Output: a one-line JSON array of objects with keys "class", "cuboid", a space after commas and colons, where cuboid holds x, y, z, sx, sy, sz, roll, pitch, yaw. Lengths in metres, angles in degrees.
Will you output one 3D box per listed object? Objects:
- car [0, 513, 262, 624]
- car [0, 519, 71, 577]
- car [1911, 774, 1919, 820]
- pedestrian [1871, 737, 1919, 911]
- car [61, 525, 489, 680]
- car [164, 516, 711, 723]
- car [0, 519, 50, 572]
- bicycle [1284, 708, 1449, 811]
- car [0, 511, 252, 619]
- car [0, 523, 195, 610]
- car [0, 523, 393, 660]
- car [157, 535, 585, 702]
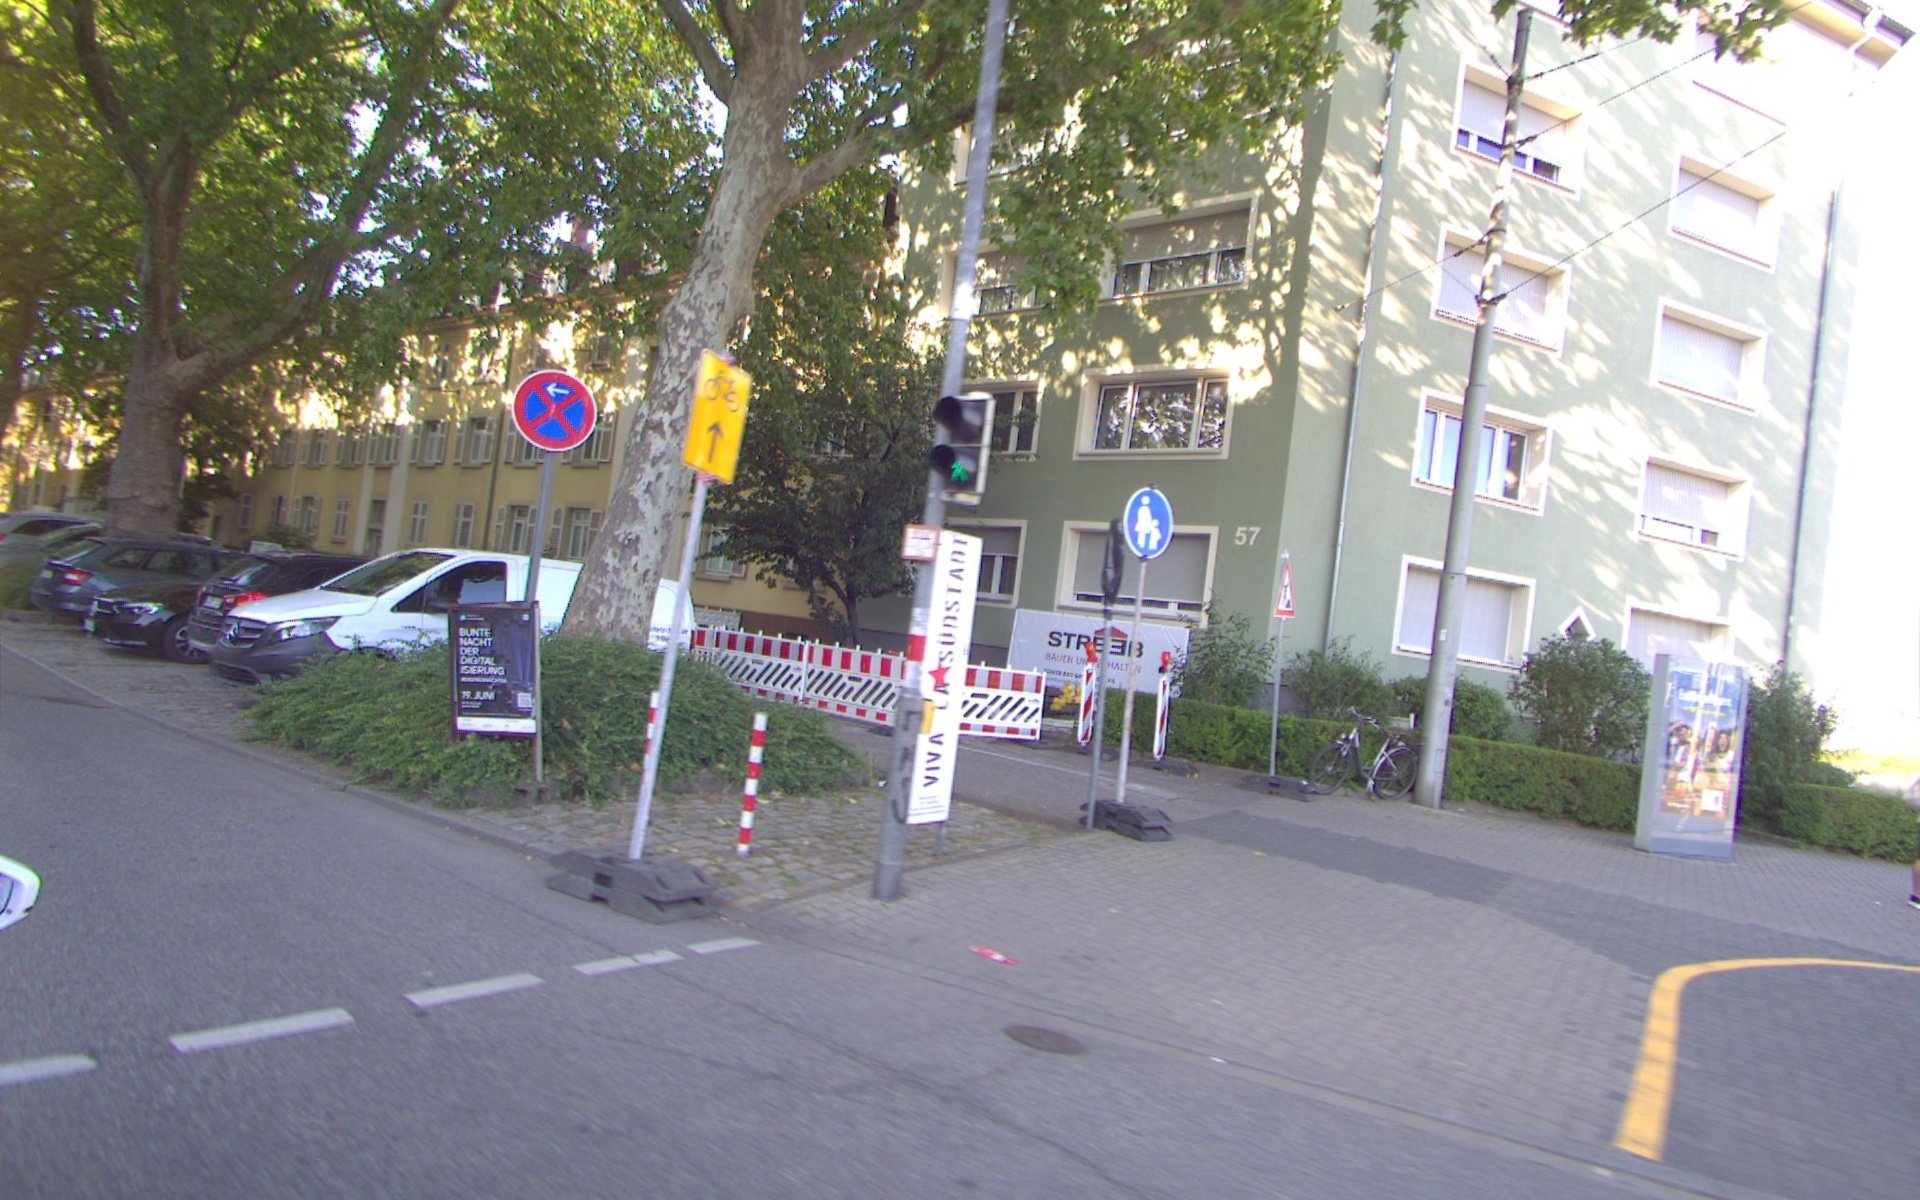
[{"class": "car", "cuboid": [-17.035, -0.630, 20.010, 1.891, 1.620, 4.714, 6, -3, 37]}, {"class": "car", "cuboid": [-30.298, -1.837, 30.417, 1.889, 1.551, 4.719, 6, -3, 34]}, {"class": "car", "cuboid": [36.255, 7.334, 35.821, 1.633, 1.677, 4.012, 6, -3, 15]}, {"class": "pedestrian", "cuboid": [10.473, 2.413, 10.699, 0.780, 1.770, 0.694, 7, -2, 5]}, {"class": "car", "cuboid": [-9.738, 0.134, 14.713, 1.891, 1.620, 4.714, 6, -3, 37]}, {"class": "car", "cuboid": [-5.626, 0.362, 11.649, 1.901, 1.847, 5.222, 4, -3, 36]}, {"class": "car", "cuboid": [-32.393, -2.045, 31.976, 1.889, 1.551, 4.719, 6, -3, 34]}, {"class": "bicycle", "cuboid": [5.257, 2.062, 13.031, 1.902, 1.069, 0.520, 8, -2, -10]}, {"class": "car", "cuboid": [-18.602, -0.750, 21.926, 1.891, 1.741, 4.715, 6, -3, 37]}, {"class": "car", "cuboid": [-21.263, -0.864, 23.699, 1.891, 1.551, 4.715, 6, -3, 37]}, {"class": "car", "cuboid": [-12.012, -0.047, 16.168, 1.889, 1.523, 4.592, 6, -3, 35]}, {"class": "car", "cuboid": [-7.597, 0.345, 13.399, 1.914, 1.620, 4.409, 6, -3, 38]}]
